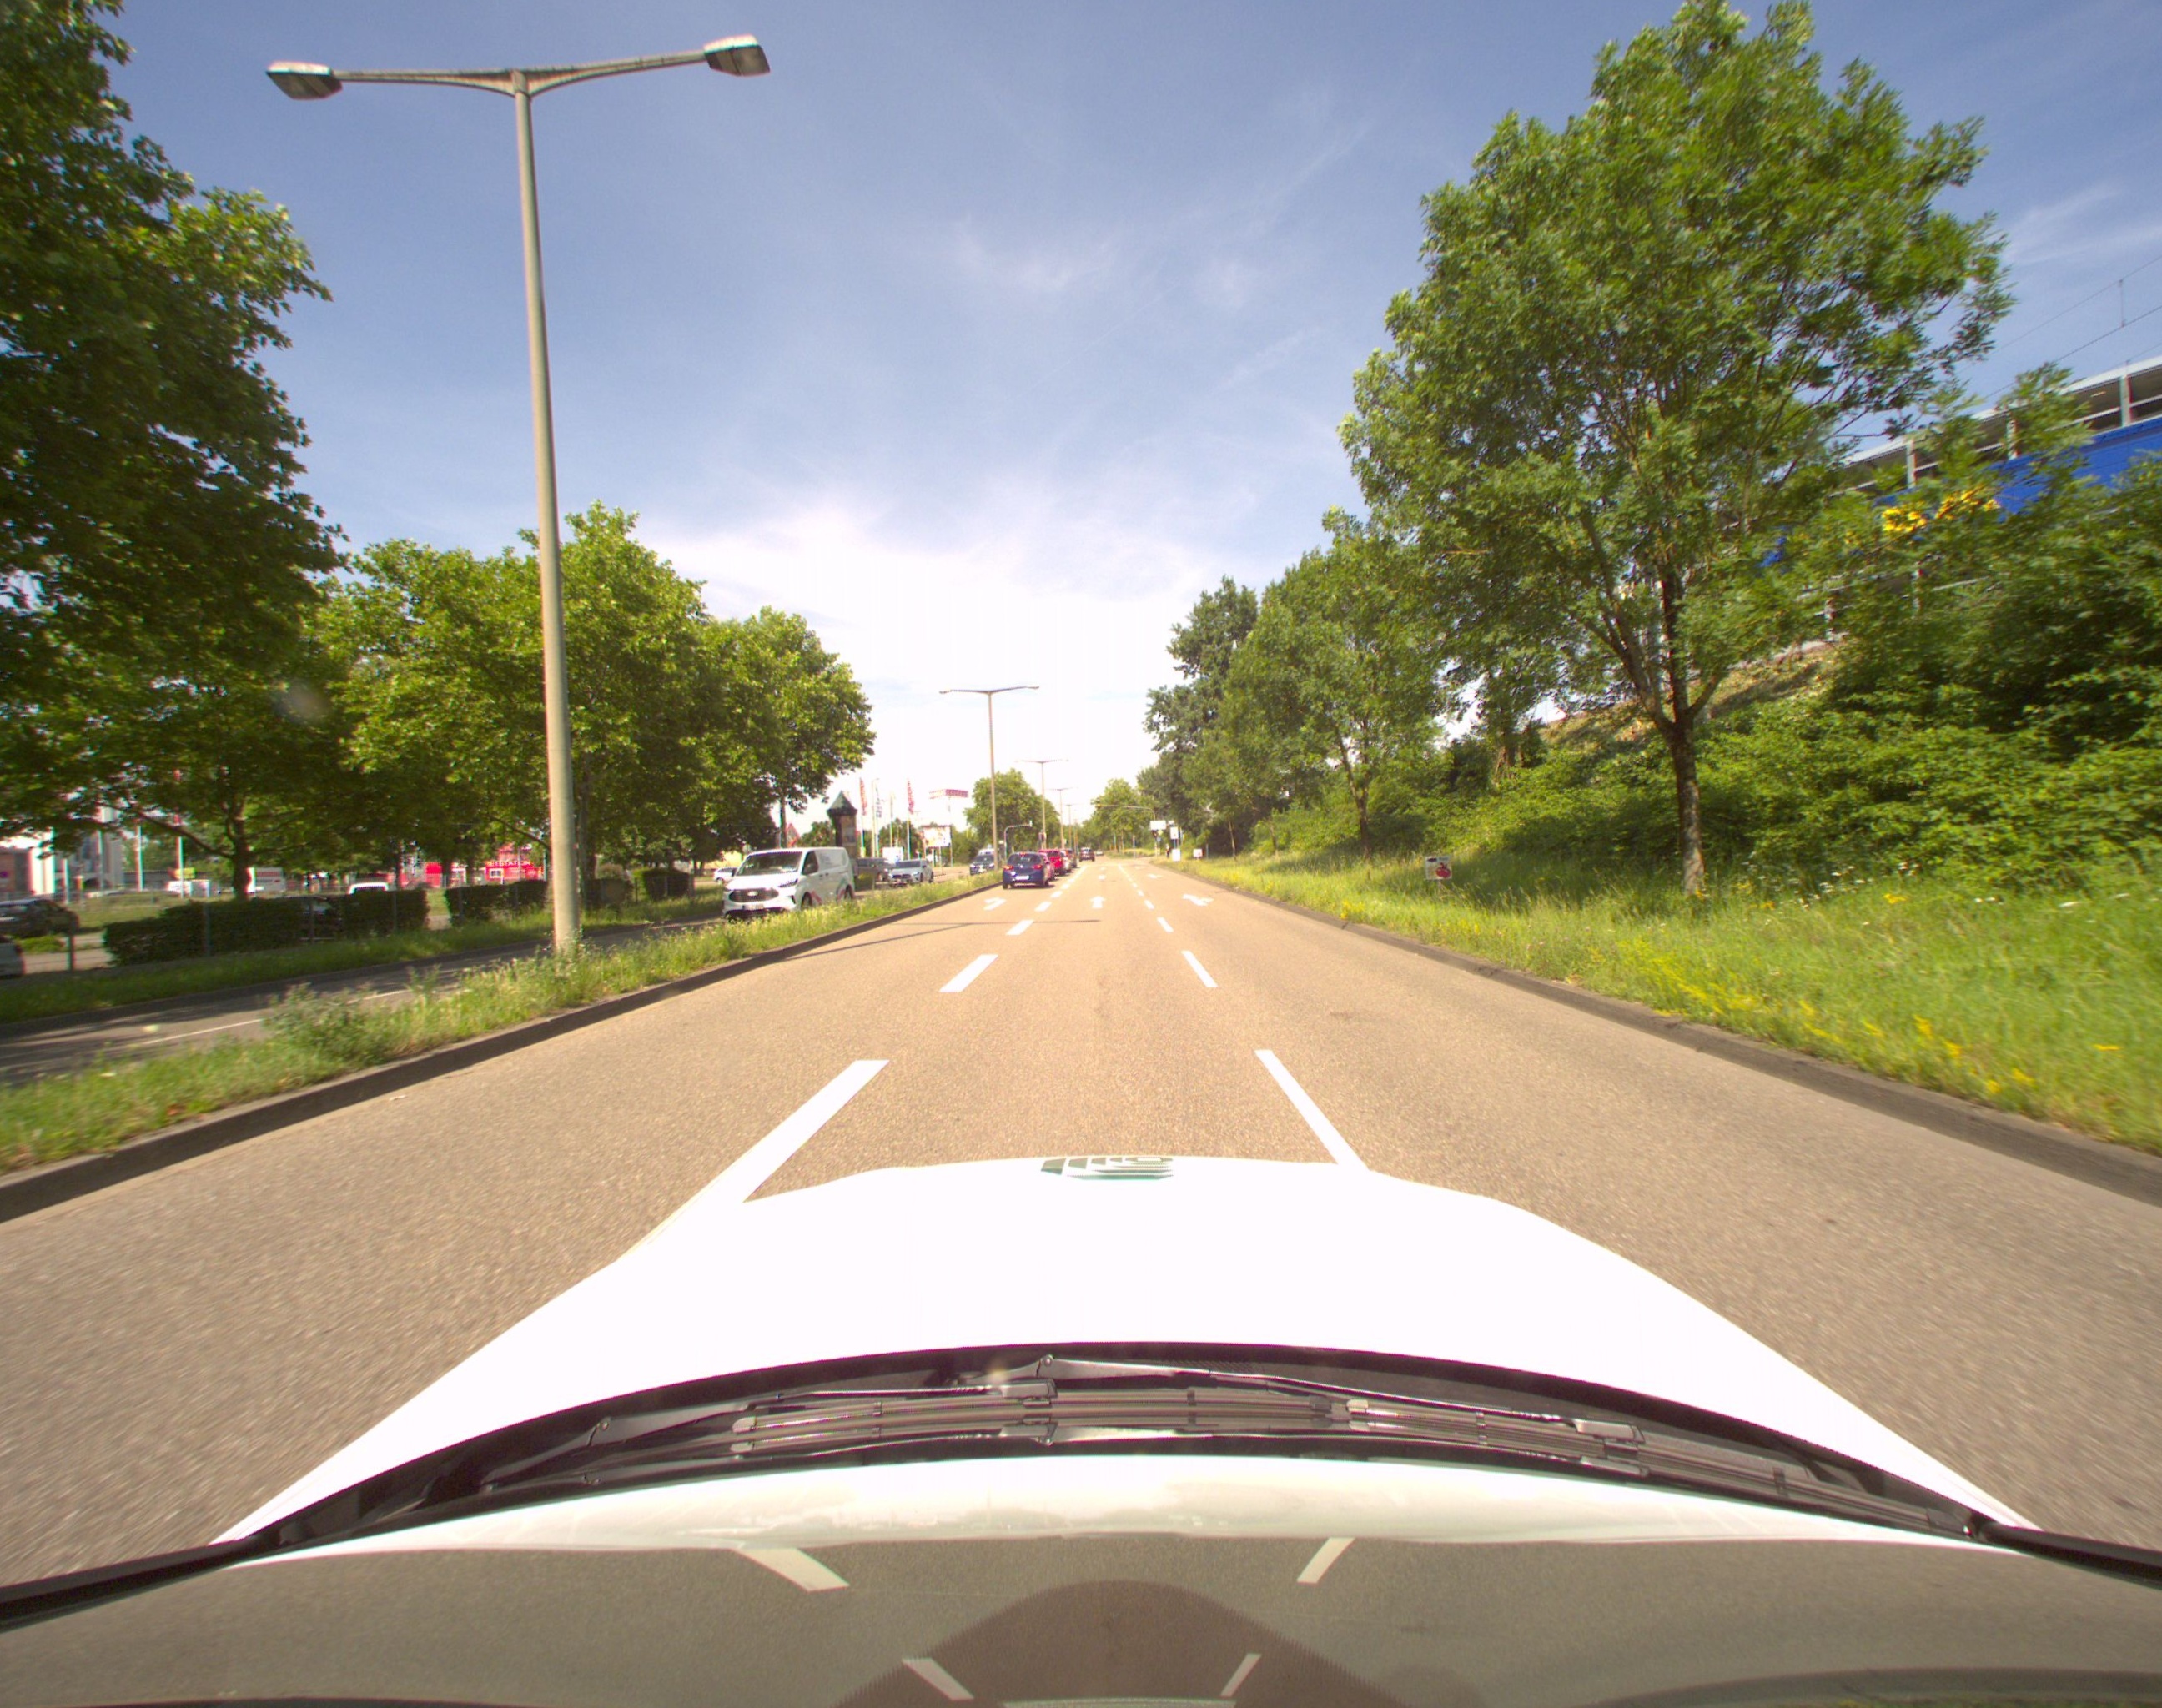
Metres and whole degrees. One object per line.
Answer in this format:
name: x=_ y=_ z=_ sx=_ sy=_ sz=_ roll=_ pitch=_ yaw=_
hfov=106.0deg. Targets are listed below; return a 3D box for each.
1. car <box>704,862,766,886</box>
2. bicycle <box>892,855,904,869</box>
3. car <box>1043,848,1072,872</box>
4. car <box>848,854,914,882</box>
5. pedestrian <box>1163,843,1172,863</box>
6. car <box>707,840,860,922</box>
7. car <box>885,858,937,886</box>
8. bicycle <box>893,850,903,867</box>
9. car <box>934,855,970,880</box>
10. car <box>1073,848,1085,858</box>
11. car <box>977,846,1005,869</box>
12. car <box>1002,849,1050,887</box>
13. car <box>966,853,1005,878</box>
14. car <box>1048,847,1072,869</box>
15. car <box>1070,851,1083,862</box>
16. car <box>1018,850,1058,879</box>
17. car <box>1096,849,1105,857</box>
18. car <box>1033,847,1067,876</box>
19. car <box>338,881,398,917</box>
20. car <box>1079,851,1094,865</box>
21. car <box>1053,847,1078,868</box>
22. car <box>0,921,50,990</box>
car: x=-26.836 y=1.543 z=63.133 sx=4.121 sy=1.603 sz=1.729 roll=-3 pitch=0 yaw=13
bicycle: x=-17.283 y=0.734 z=76.869 sx=0.671 sy=1.256 sz=2.244 roll=-3 pitch=0 yaw=-4
car: x=-1.552 y=0.380 z=54.949 sx=1.760 sy=1.479 sz=4.136 roll=-1 pitch=0 yaw=1
car: x=-14.120 y=0.982 z=57.489 sx=4.343 sy=1.750 sz=1.881 roll=-3 pitch=0 yaw=31
pedestrian: x=8.689 y=-0.125 z=81.815 sx=0.835 sy=1.932 sz=0.771 roll=-2 pitch=2 yaw=-2
car: x=-7.952 y=0.651 z=22.469 sx=2.110 sy=1.883 sz=5.419 roll=-3 pitch=0 yaw=0
car: x=-9.391 y=0.964 z=45.408 sx=1.780 sy=1.398 sz=4.360 roll=-4 pitch=0 yaw=2
bicycle: x=-17.291 y=0.430 z=76.798 sx=0.671 sy=1.615 sz=0.991 roll=-3 pitch=0 yaw=-4
car: x=-9.613 y=1.008 z=61.008 sx=1.970 sy=1.693 sz=4.000 roll=-3 pitch=0 yaw=0
car: x=-0.354 y=-0.191 z=158.888 sx=1.986 sy=1.708 sz=4.265 roll=-3 pitch=0 yaw=2
car: x=-8.825 y=0.305 z=80.137 sx=1.986 sy=2.013 sz=5.215 roll=-3 pitch=0 yaw=1
car: x=-2.233 y=0.533 z=34.023 sx=1.620 sy=1.483 sz=4.049 roll=-1 pitch=0 yaw=1
car: x=-6.713 y=0.786 z=57.473 sx=1.986 sy=1.530 sz=4.684 roll=-3 pitch=0 yaw=2
car: x=-1.549 y=0.323 z=61.655 sx=1.623 sy=1.595 sz=3.918 roll=-2 pitch=-1 yaw=1
car: x=-0.717 y=0.444 z=138.604 sx=1.986 sy=1.744 sz=4.267 roll=-3 pitch=0 yaw=2
car: x=-2.157 y=0.504 z=41.759 sx=1.696 sy=1.390 sz=4.473 roll=-1 pitch=0 yaw=1
car: x=4.450 y=-0.252 z=187.525 sx=1.861 sy=1.574 sz=4.002 roll=-3 pitch=0 yaw=2
car: x=-1.810 y=0.425 z=48.864 sx=1.776 sy=1.593 sz=4.594 roll=-1 pitch=0 yaw=1
car: x=-37.540 y=2.315 z=42.986 sx=2.010 sy=1.665 sz=4.789 roll=-3 pitch=0 yaw=-38
car: x=0.764 y=0.492 z=102.338 sx=1.730 sy=1.535 sz=4.003 roll=-2 pitch=2 yaw=2
car: x=-1.302 y=0.291 z=68.042 sx=1.875 sy=1.618 sz=4.213 roll=-2 pitch=0 yaw=1
car: x=-24.969 y=2.261 z=17.143 sx=3.979 sy=1.414 sz=1.802 roll=-2 pitch=-1 yaw=-4
